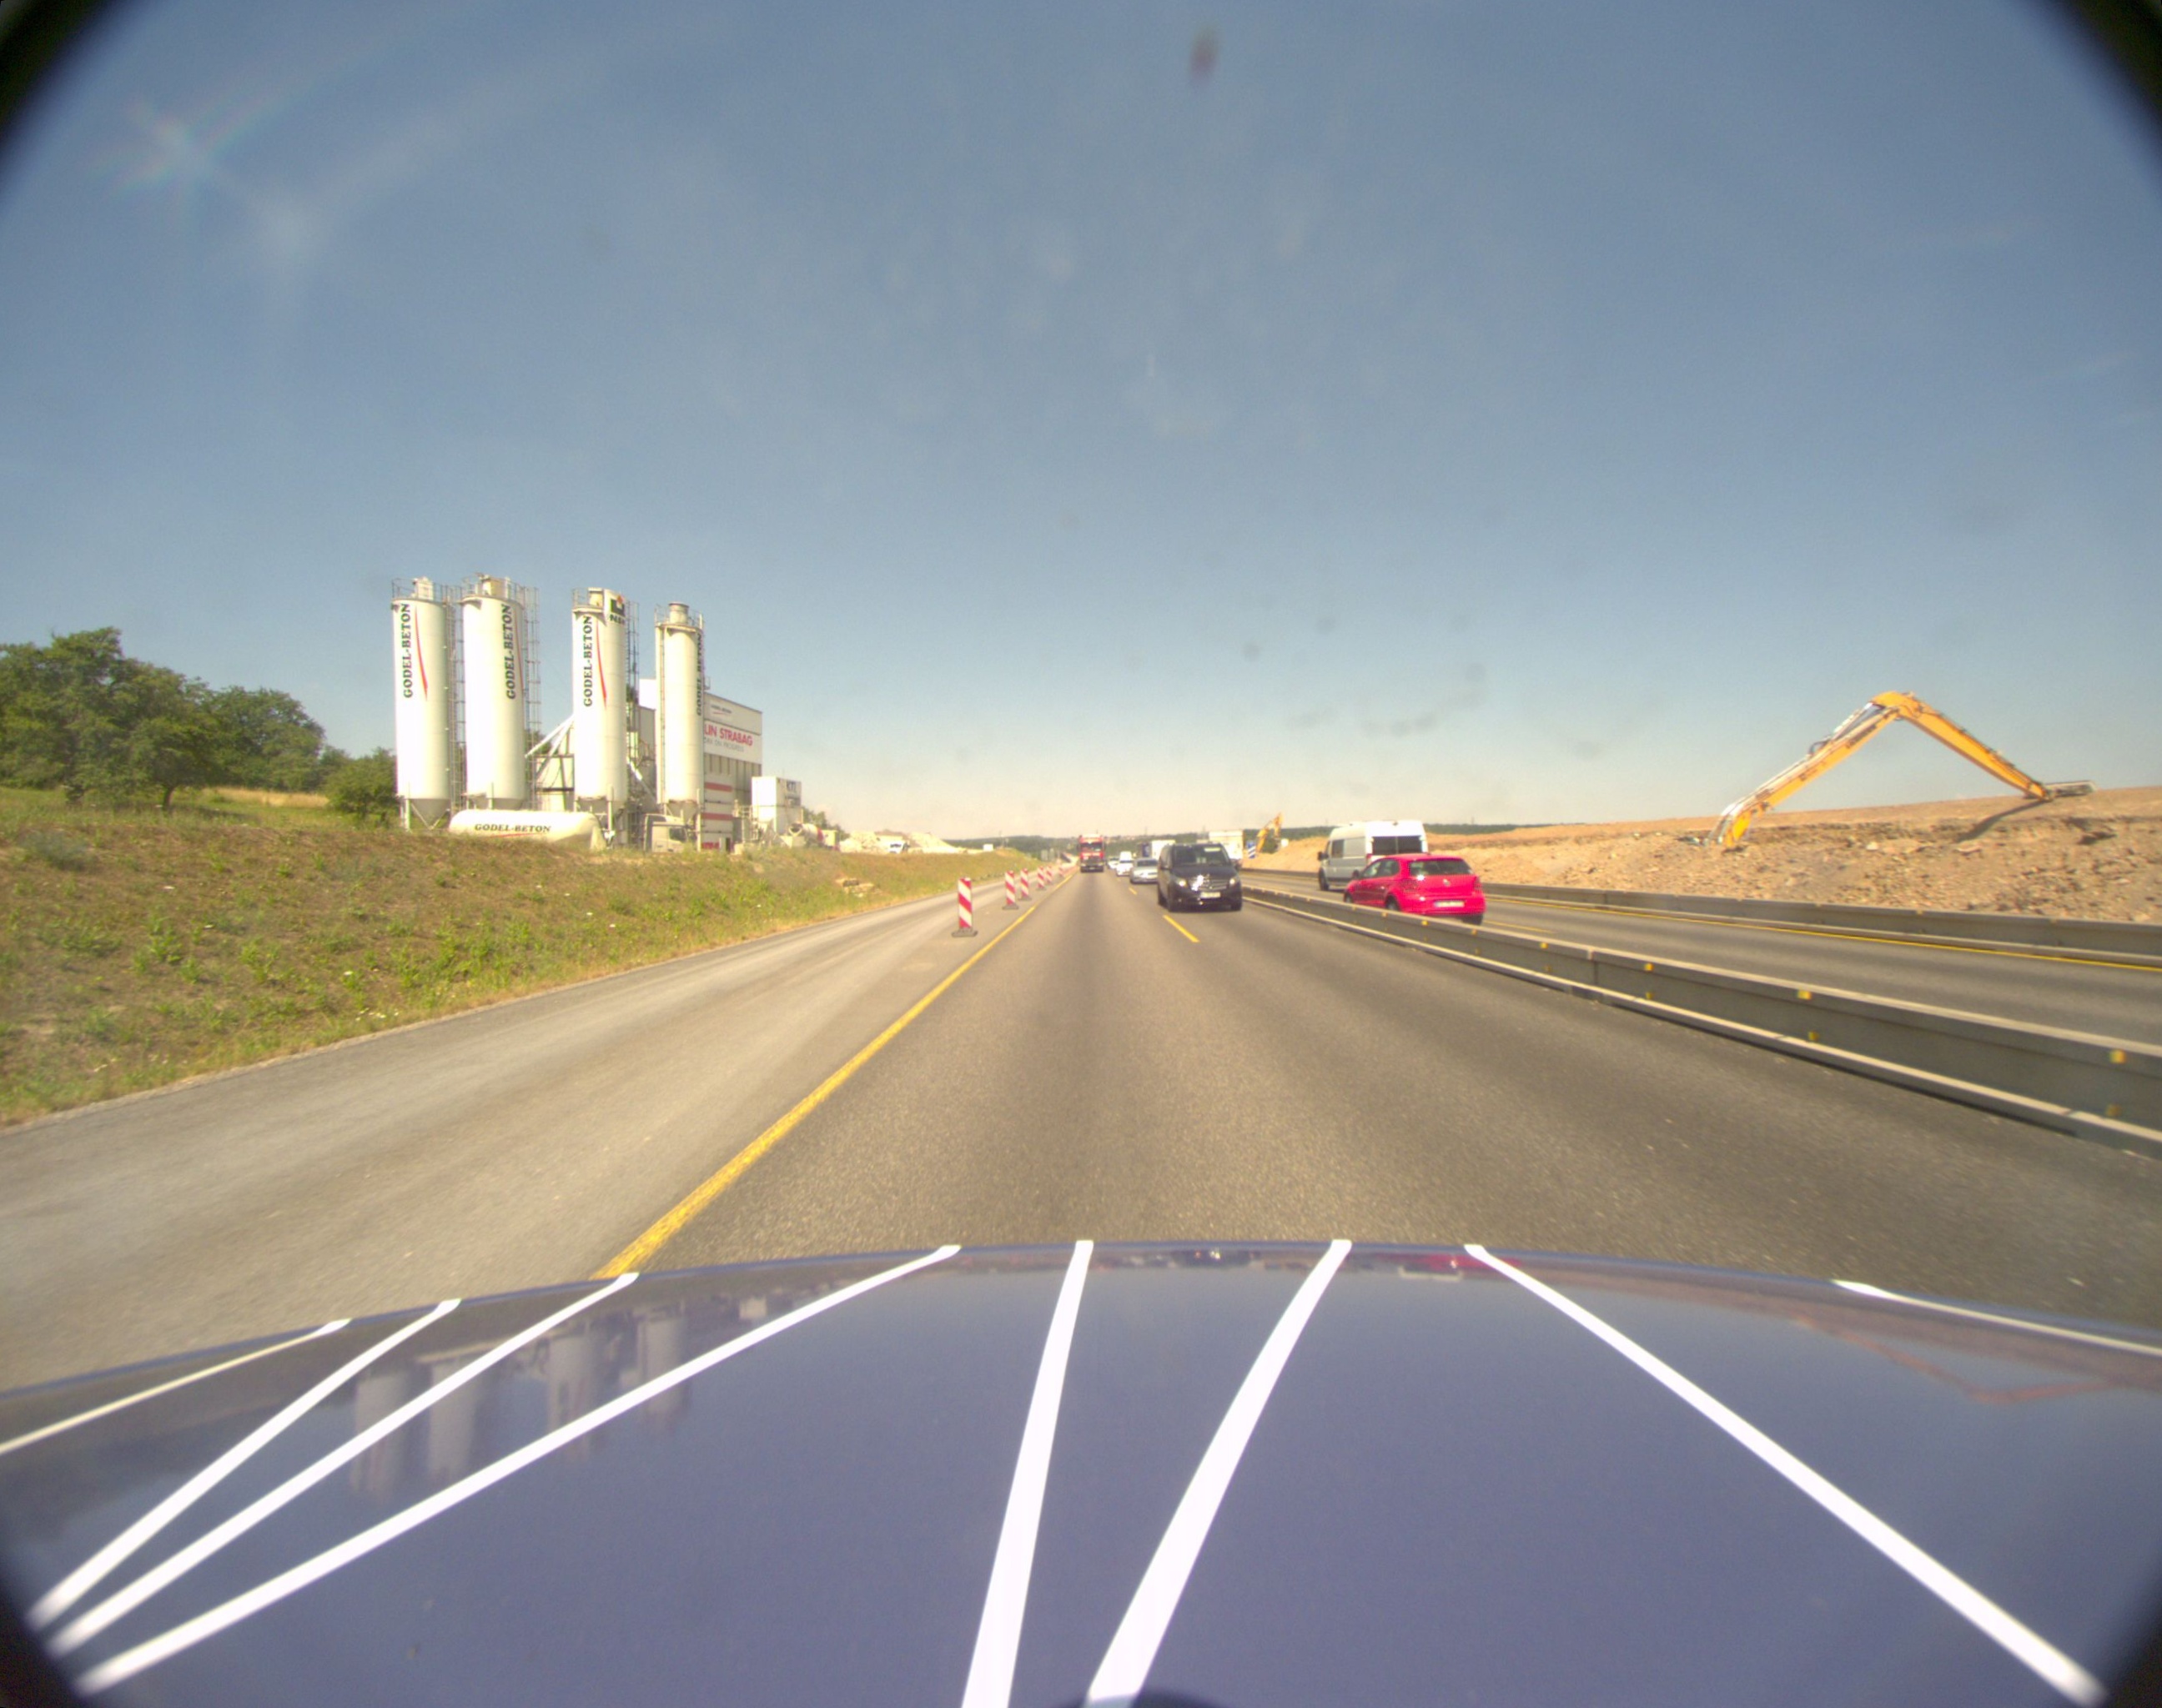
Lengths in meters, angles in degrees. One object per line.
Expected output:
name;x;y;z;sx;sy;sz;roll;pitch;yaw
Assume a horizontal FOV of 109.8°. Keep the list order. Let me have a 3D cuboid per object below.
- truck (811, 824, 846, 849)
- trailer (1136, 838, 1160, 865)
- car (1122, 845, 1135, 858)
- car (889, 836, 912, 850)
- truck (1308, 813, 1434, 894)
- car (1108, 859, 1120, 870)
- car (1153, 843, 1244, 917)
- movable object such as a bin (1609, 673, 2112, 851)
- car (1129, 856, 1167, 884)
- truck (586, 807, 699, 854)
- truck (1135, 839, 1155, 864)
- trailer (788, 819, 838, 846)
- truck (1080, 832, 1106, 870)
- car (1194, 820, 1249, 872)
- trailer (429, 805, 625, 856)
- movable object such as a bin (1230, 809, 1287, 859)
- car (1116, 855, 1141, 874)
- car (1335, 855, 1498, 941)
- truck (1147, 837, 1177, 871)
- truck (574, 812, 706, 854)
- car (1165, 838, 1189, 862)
truck;-26.880;-1.815;81.020;2.021;2.530;4.042;-2;1;4
trailer;11.911;-0.438;136.169;2.993;4.569;12.882;-2;1;0
car;9.056;-0.435;145.222;2.040;2.329;6.196;-2;0;1
car;-24.153;-1.420;101.796;1.990;1.752;3.602;-2;1;1
truck;10.387;0.057;27.937;2.103;2.553;6.355;-3;-1;0
car;4.561;1.378;105.264;1.601;1.390;3.695;-2;1;2
car;3.294;0.676;22.339;1.878;1.840;5.479;-2;0;1
movable object such as a bin;33.583;-3.820;33.297;18.266;6.733;3.388;-2;1;1
car;3.737;0.880;43.107;1.804;1.499;4.101;-2;0;1
truck;-25.528;-1.386;44.272;5.317;2.530;2.897;-2;1;-36
truck;11.955;-0.471;142.610;2.972;4.625;6.243;-2;1;0
trailer;-27.172;-2.129;77.318;1.998;2.629;6.937;-2;1;4
truck;1.368;-0.358;81.767;2.537;3.798;9.481;-2;1;2
car;11.046;-0.580;60.512;2.915;3.718;8.091;-2;0;1
trailer;-30.943;-1.310;42.690;8.919;2.592;2.463;-1;1;-3
movable object such as a bin;26.460;-2.896;113.431;7.378;7.073;4.081;-2;1;1
car;3.941;0.837;63.153;1.875;1.390;4.030;-2;1;2
car;6.791;0.804;15.867;1.631;1.475;4.053;-2;1;1
truck;8.044;-0.046;76.112;2.276;3.131;7.313;-2;1;1
truck;-34.053;-1.605;58.763;9.090;2.852;2.460;-2;1;7
car;12.246;-0.566;97.408;2.257;2.938;5.848;-2;1;1
